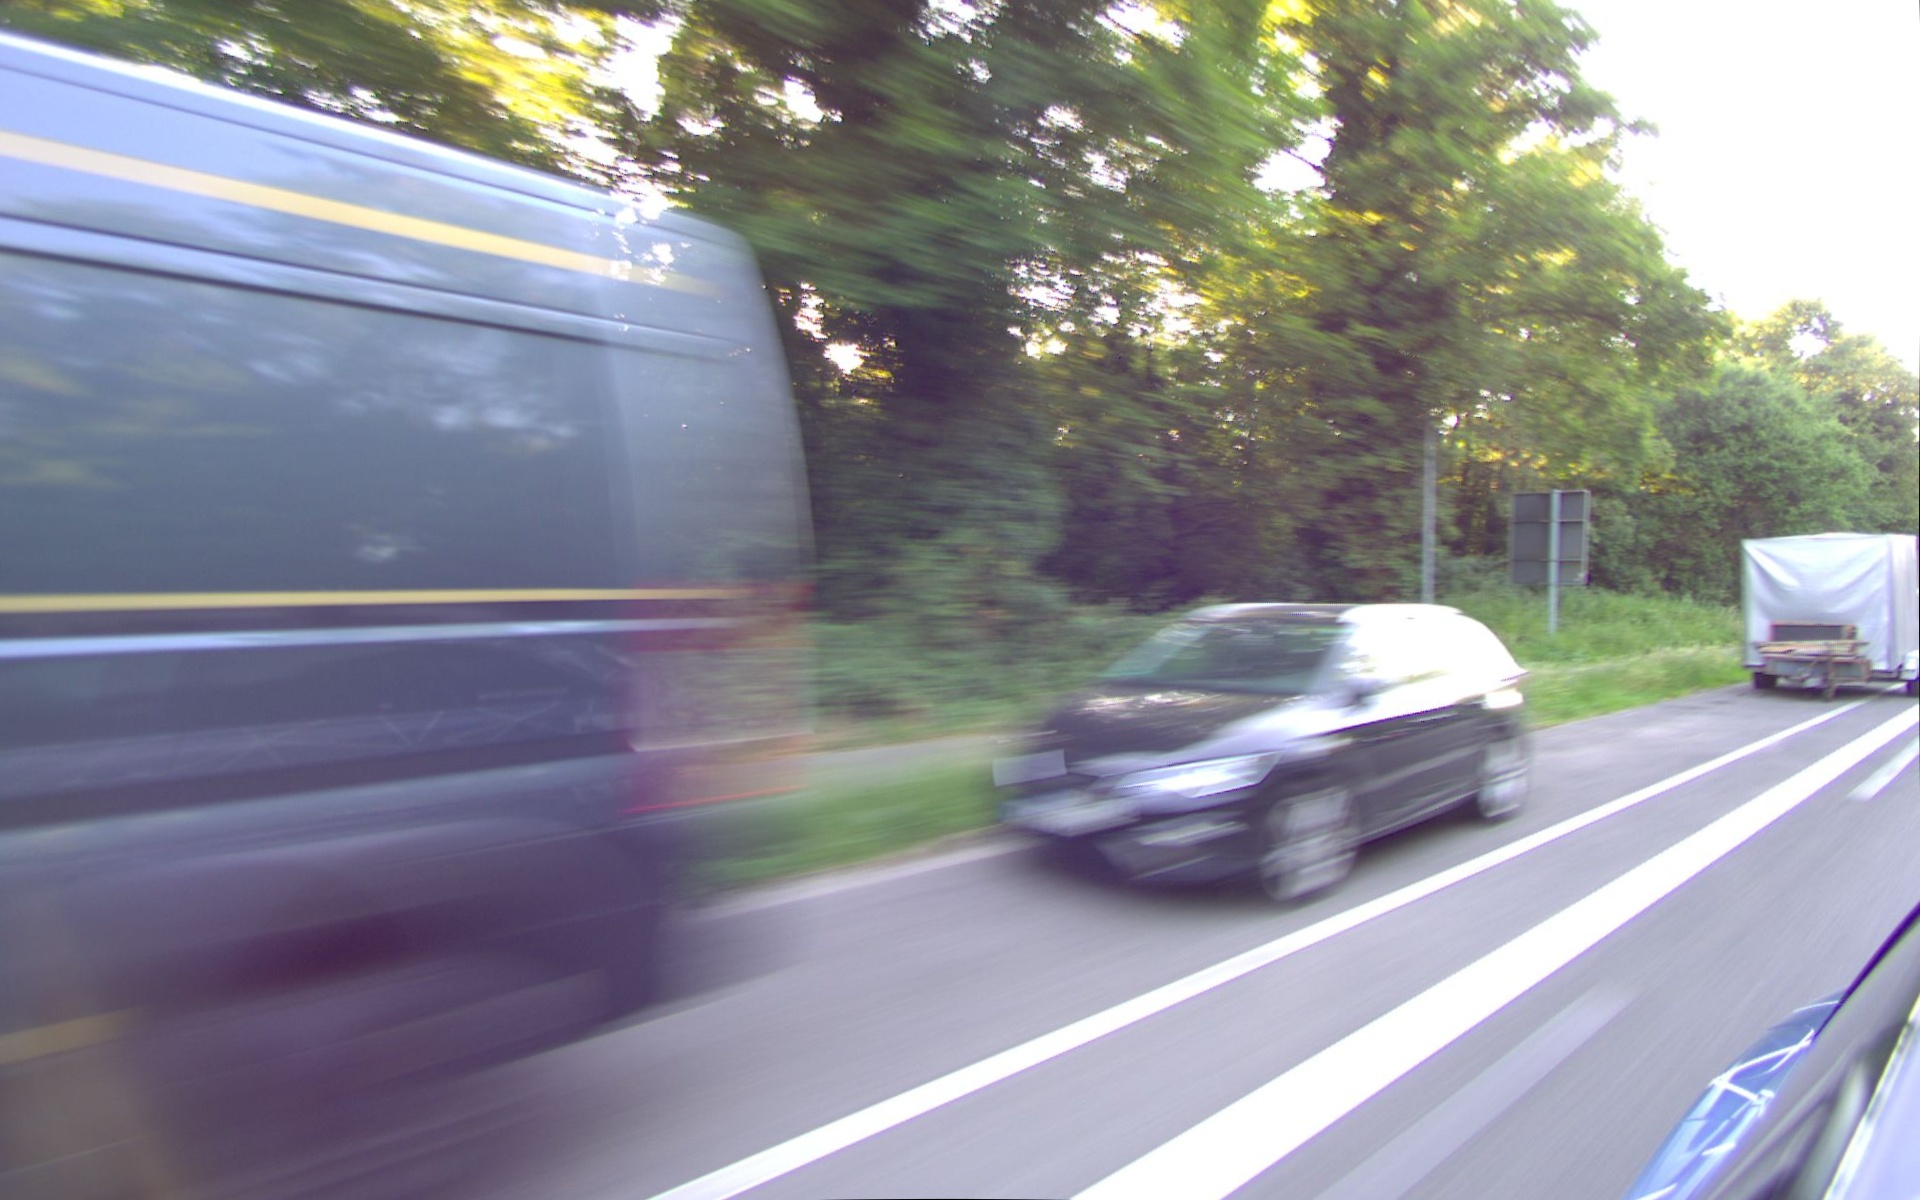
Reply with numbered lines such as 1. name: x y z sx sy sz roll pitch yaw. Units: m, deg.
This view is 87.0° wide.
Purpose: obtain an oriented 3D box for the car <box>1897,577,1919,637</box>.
1. car: 32.631 0.237 33.439 4.123 1.943 1.975 0 2 -41

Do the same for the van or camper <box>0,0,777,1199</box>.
1. van or camper: -3.391 0.105 1.369 5.957 2.573 2.130 -2 1 -42

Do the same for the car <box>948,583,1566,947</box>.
1. car: 2.114 0.670 6.274 4.456 1.495 1.605 0 0 -42

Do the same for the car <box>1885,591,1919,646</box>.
1. car: 28.487 0.518 29.581 4.123 1.533 1.631 0 2 -41

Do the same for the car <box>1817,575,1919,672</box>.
1. car: 18.839 0.409 20.388 4.123 1.762 1.754 0 2 -41

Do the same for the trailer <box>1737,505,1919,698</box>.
1. trailer: 14.084 -0.013 16.171 4.196 2.682 1.864 -1 1 -41
